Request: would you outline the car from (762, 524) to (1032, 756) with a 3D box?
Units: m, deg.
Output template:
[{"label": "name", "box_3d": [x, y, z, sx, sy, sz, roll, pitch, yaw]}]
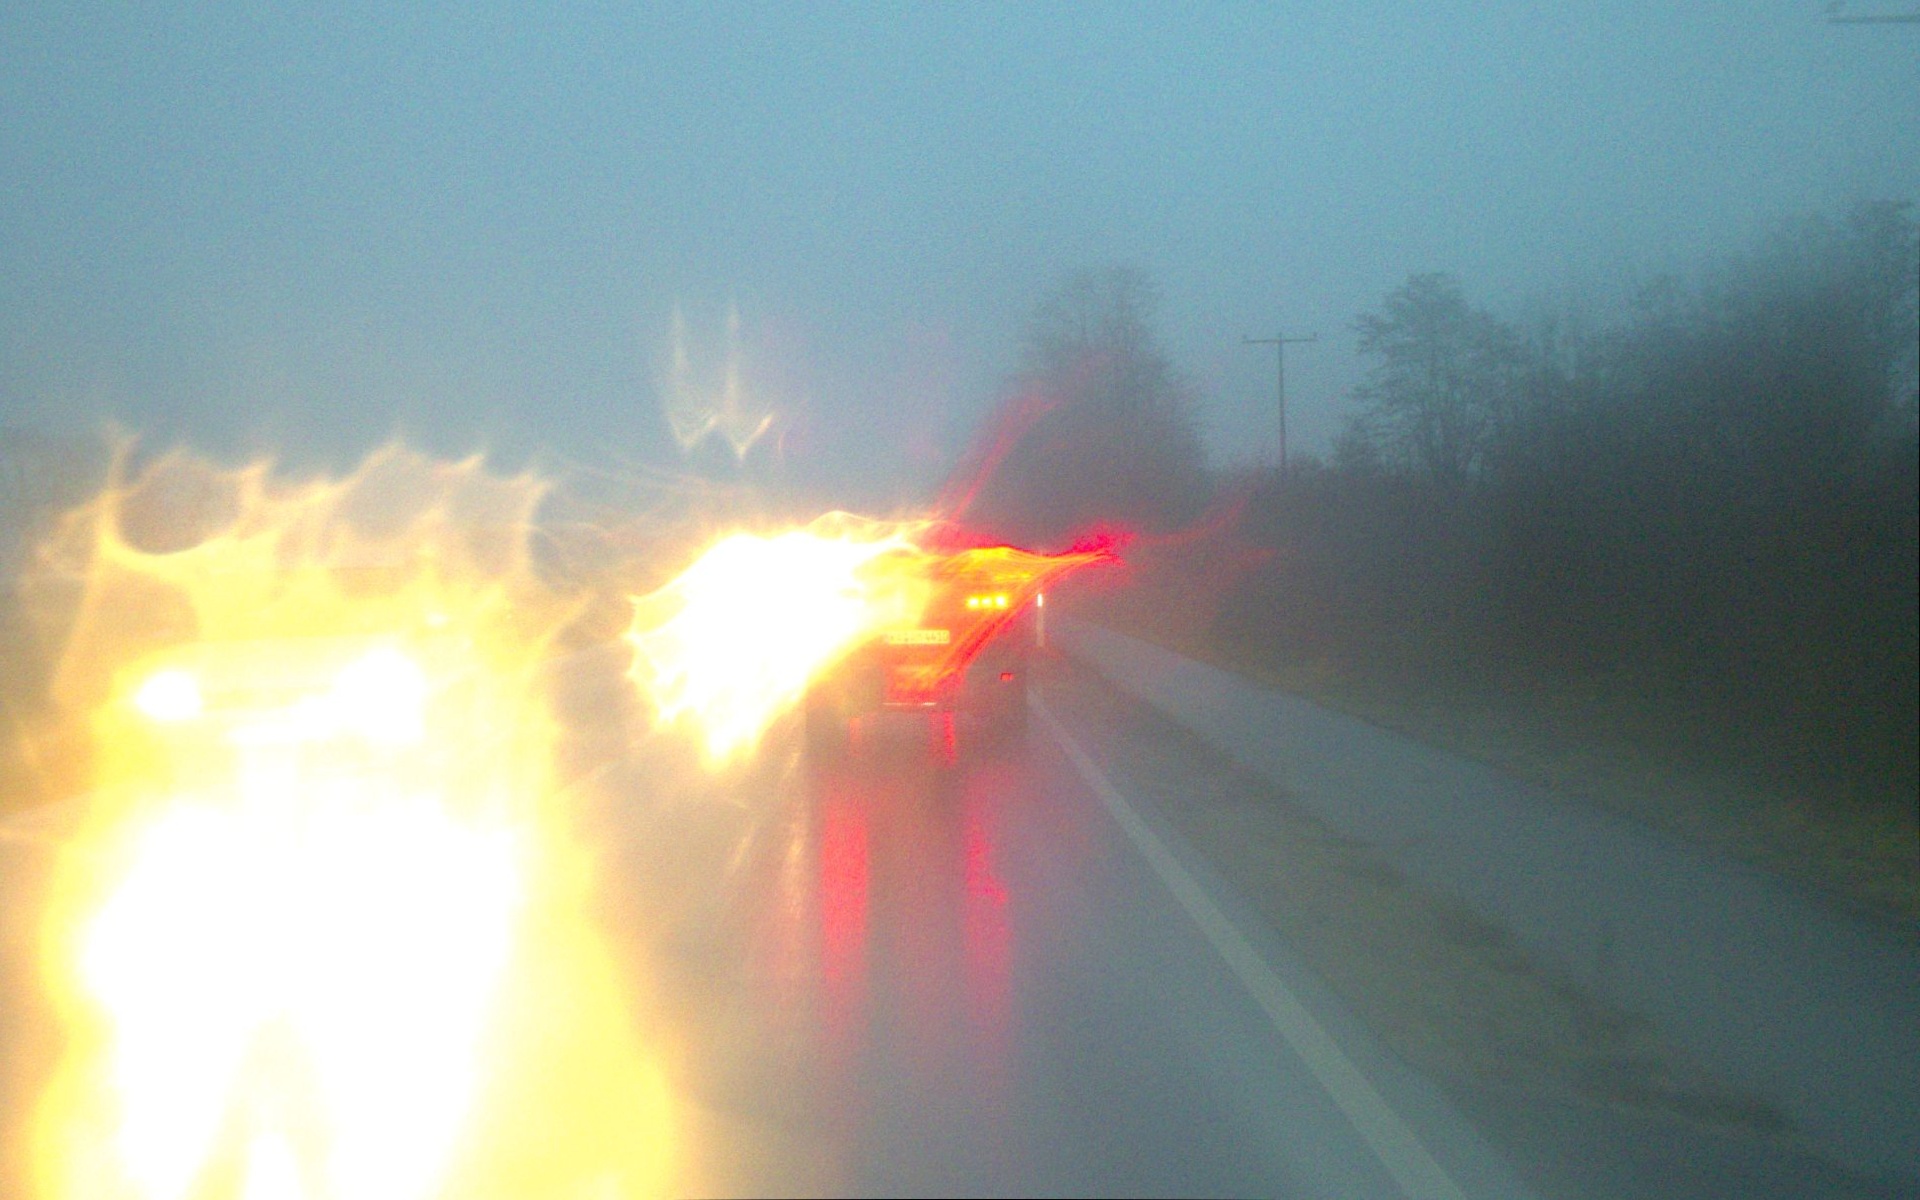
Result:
[{"label": "car", "box_3d": [-0.515, 0.340, 29.460, 2.120, 1.814, 4.980, 0, -1, 0]}]

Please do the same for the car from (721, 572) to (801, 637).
[{"label": "car", "box_3d": [-5.002, 0.090, 86.893, 1.822, 1.556, 3.656, -1, 1, -1]}]

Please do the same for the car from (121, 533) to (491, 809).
[{"label": "car", "box_3d": [-4.372, 0.419, 23.568, 1.795, 1.680, 4.187, -1, 1, -1]}]
